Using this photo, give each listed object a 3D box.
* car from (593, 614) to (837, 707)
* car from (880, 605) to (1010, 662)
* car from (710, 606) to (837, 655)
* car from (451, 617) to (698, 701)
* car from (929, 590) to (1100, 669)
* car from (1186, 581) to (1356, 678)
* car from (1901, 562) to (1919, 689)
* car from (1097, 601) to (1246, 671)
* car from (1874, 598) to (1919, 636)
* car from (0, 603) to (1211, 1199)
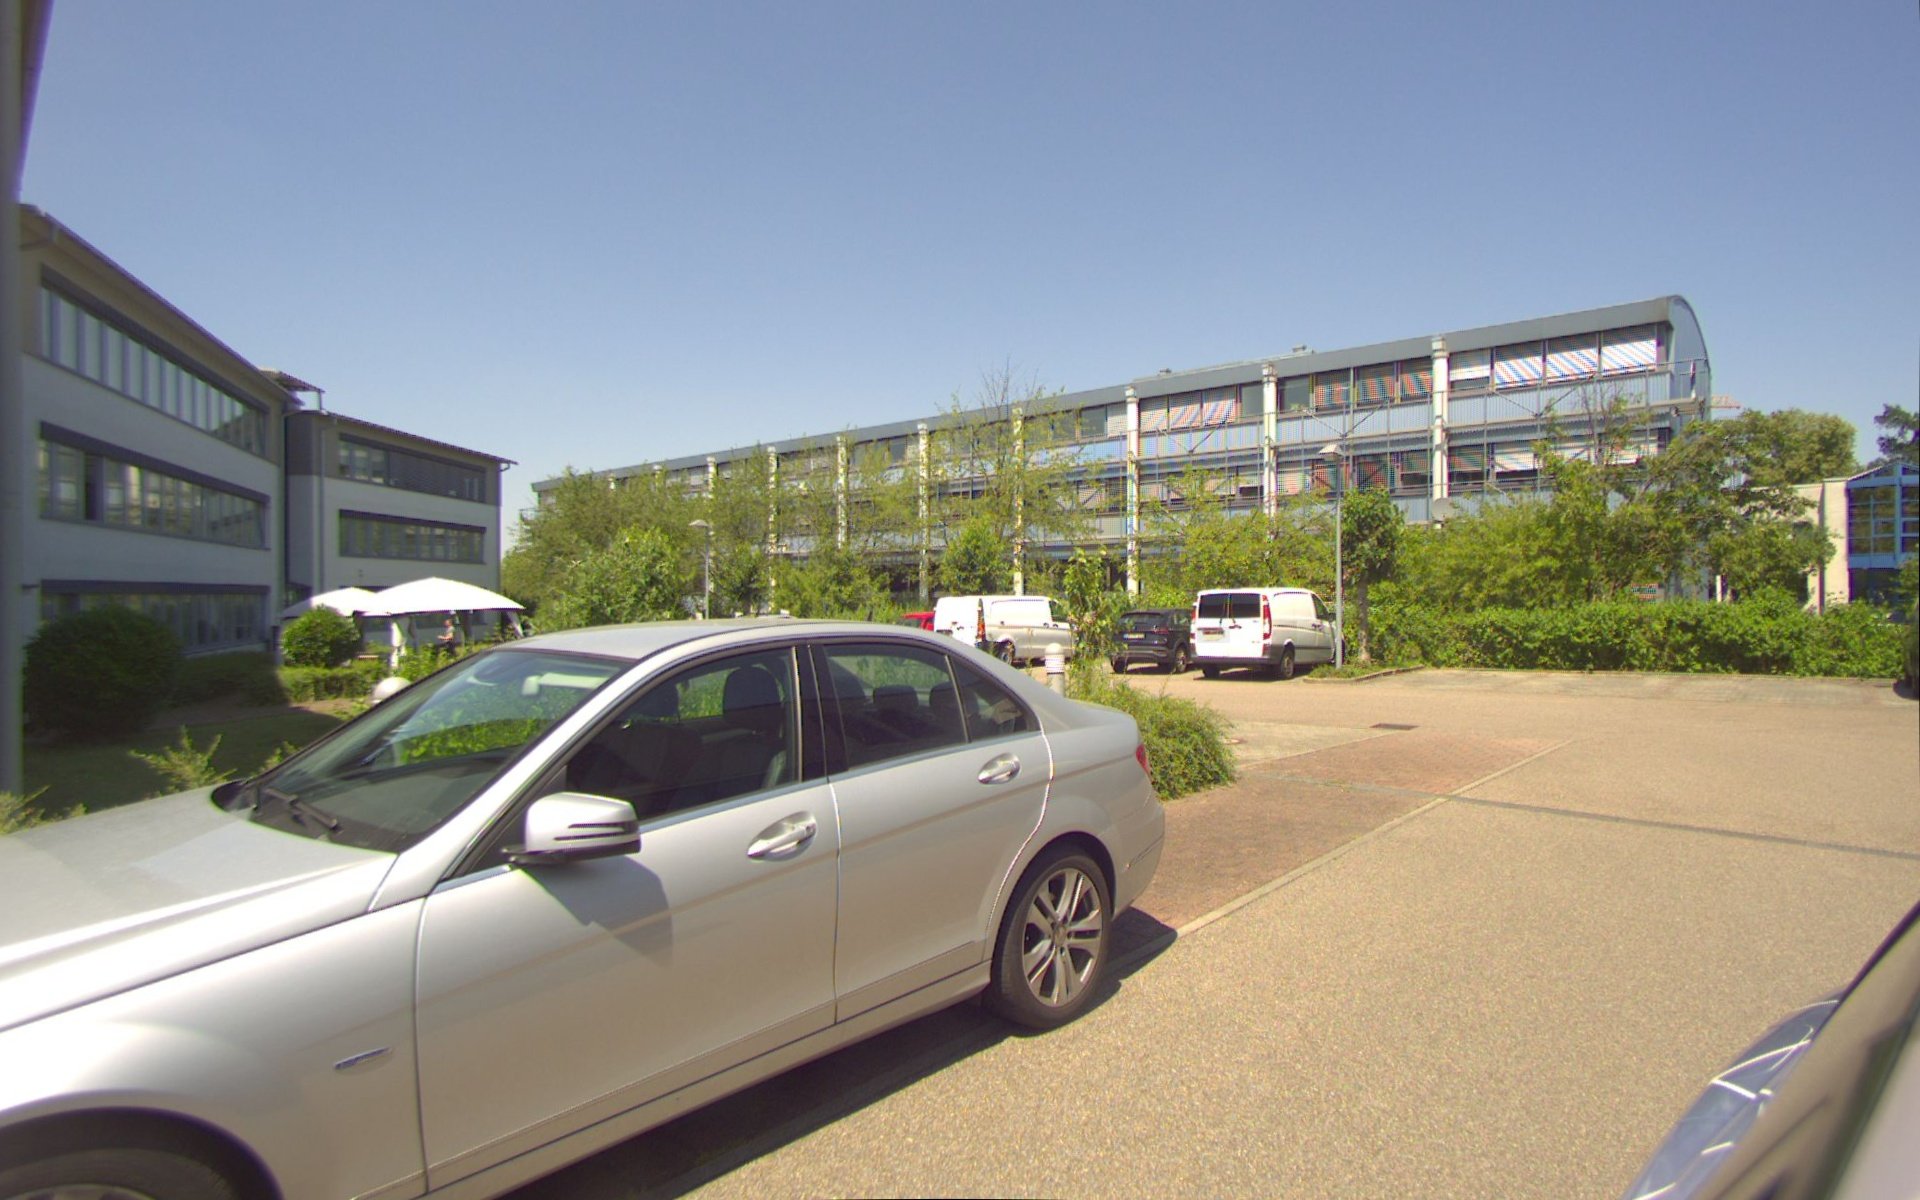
[{"bbox_3d":[-4.615,1.075,19.591,1.848,1.539,4.362,-2,-1,40],"label":"car"},{"bbox_3d":[-0.392,0.950,29.875,1.618,1.507,3.861,-2,-1,42],"label":"car"},{"bbox_3d":[-6.341,1.018,34.636,1.733,1.503,4.021,-2,-1,43],"label":"car"},{"bbox_3d":[-7.957,1.143,21.252,1.848,1.513,4.545,-2,-1,40],"label":"car"},{"bbox_3d":[1.549,0.707,26.929,1.849,1.879,4.859,-2,-1,42],"label":"car"},{"bbox_3d":[6.891,0.571,22.109,1.860,1.884,4.609,-2,-1,40],"label":"car"},{"bbox_3d":[15.695,0.356,15.324,1.860,1.884,4.167,-2,-1,40],"label":"car"},{"bbox_3d":[5.155,0.813,24.341,1.731,1.503,4.137,-2,-1,40],"label":"car"},{"bbox_3d":[43.678,0.749,46.763,1.827,1.587,3.947,-1,1,38],"label":"car"},{"bbox_3d":[-1.116,0.752,3.243,1.799,1.416,4.350,-1,0,44],"label":"car"}]
